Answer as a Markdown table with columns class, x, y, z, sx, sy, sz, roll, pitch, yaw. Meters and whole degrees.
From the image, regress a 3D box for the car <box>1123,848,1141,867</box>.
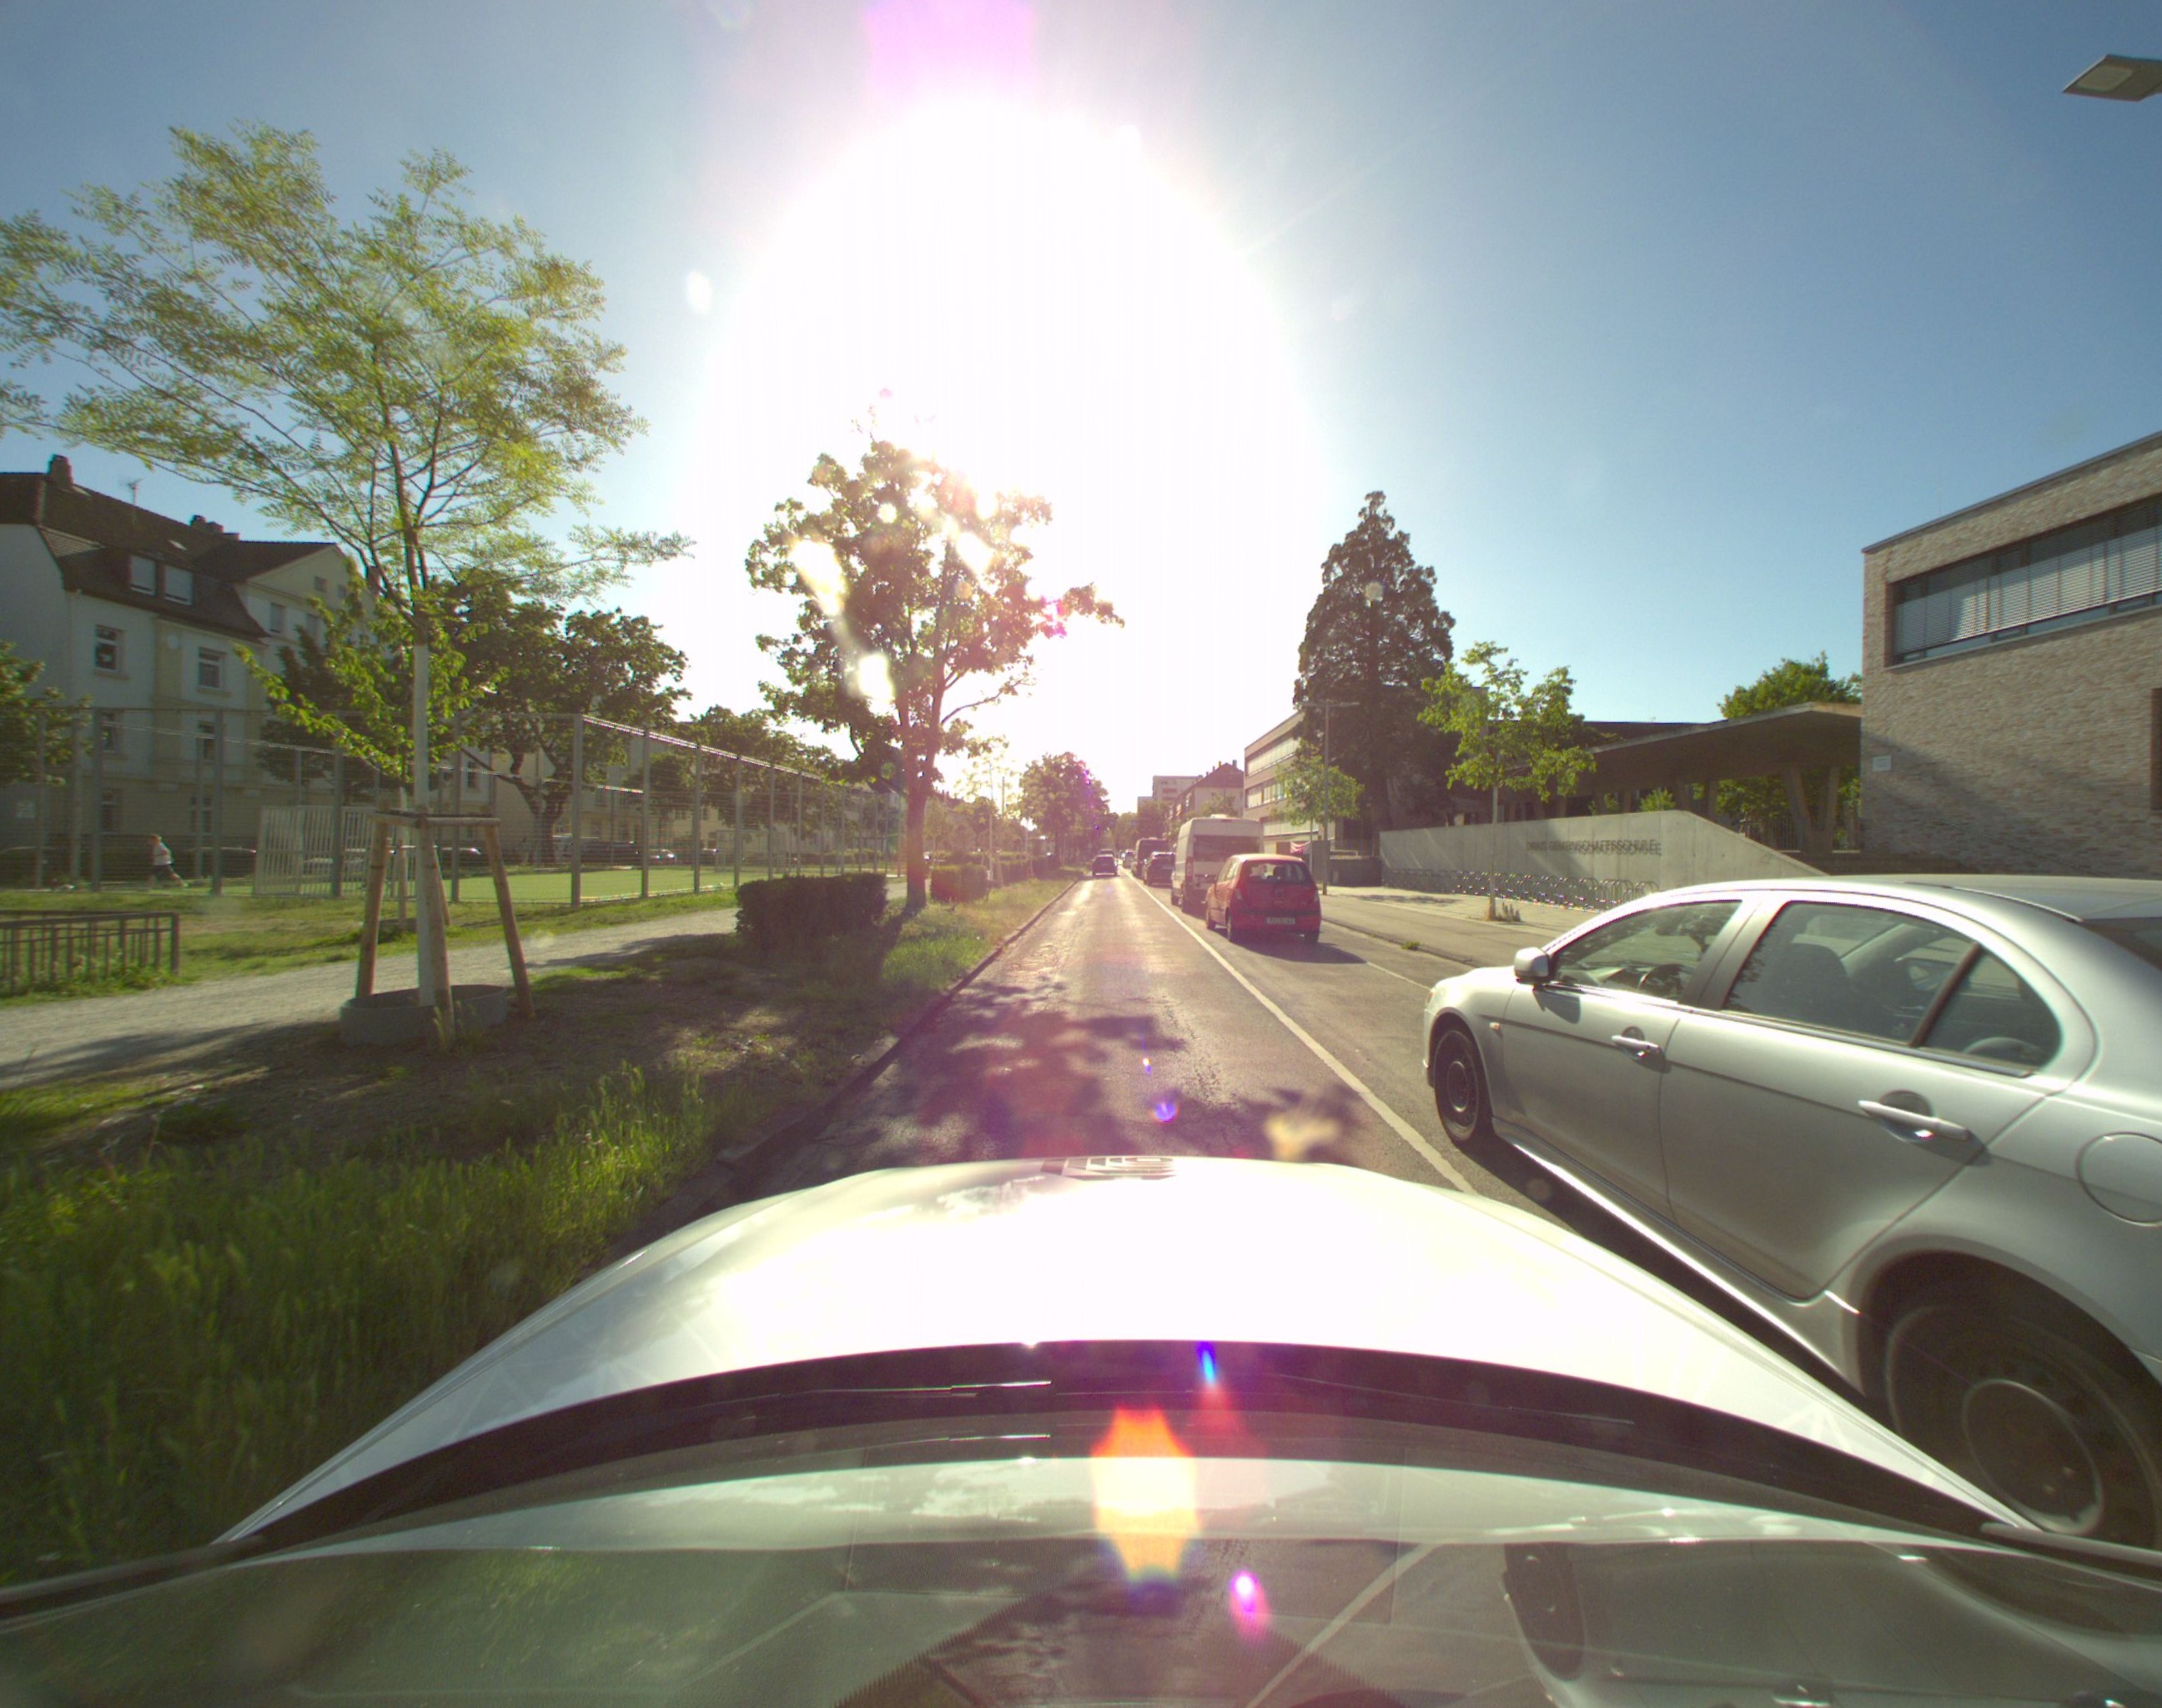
| class | x | y | z | sx | sy | sz | roll | pitch | yaw |
| --- | --- | --- | --- | --- | --- | --- | --- | --- | --- |
| car | 5.428 | 0.350 | 86.586 | 1.786 | 1.855 | 4.418 | 1 | 0 | 4 |

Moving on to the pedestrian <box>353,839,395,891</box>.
| class | x | y | z | sx | sy | sz | roll | pitch | yaw |
| --- | --- | --- | --- | --- | --- | --- | --- | --- | --- |
| pedestrian | -18.623 | 0.283 | 21.444 | 0.642 | 1.318 | 0.654 | 1 | 0 | 31 |

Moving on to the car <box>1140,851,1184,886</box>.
| class | x | y | z | sx | sy | sz | roll | pitch | yaw |
| --- | --- | --- | --- | --- | --- | --- | --- | --- | --- |
| car | 3.979 | 0.689 | 40.741 | 1.839 | 1.640 | 4.504 | 0 | 0 | 1 |

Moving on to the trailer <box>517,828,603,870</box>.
| class | x | y | z | sx | sy | sz | roll | pitch | yaw |
| --- | --- | --- | --- | --- | --- | --- | --- | --- | --- |
| trailer | -37.845 | -0.330 | 59.384 | 2.335 | 2.870 | 5.804 | 1 | 0 | 1 |

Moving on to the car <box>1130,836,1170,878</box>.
| class | x | y | z | sx | sy | sz | roll | pitch | yaw |
| --- | --- | --- | --- | --- | --- | --- | --- | --- | --- |
| car | 4.394 | 0.190 | 53.058 | 2.108 | 2.515 | 6.532 | 0 | 0 | 0 |

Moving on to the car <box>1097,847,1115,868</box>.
| class | x | y | z | sx | sy | sz | roll | pitch | yaw |
| --- | --- | --- | --- | --- | --- | --- | --- | --- | --- |
| car | 2.616 | 0.343 | 83.316 | 1.787 | 2.122 | 4.002 | 1 | 0 | 2 |

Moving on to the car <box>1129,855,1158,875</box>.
| class | x | y | z | sx | sy | sz | roll | pitch | yaw |
| --- | --- | --- | --- | --- | --- | --- | --- | --- | --- |
| car | 4.518 | 0.758 | 59.511 | 1.986 | 1.420 | 4.638 | 0 | 0 | 2 |

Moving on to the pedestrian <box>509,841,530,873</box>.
| class | x | y | z | sx | sy | sz | roll | pitch | yaw |
| --- | --- | --- | --- | --- | --- | --- | --- | --- | --- |
| pedestrian | -29.446 | 0.131 | 42.683 | 0.645 | 1.661 | 0.650 | 0 | 0 | 2 |

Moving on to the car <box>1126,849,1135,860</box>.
| class | x | y | z | sx | sy | sz | roll | pitch | yaw |
| --- | --- | --- | --- | --- | --- | --- | --- | --- | --- |
| car | 11.225 | 0.076 | 184.796 | 1.986 | 2.430 | 4.502 | 2 | 0 | 2 |

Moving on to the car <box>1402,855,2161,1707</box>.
| class | x | y | z | sx | sy | sz | roll | pitch | yaw |
| --- | --- | --- | --- | --- | --- | --- | --- | --- | --- |
| car | 2.766 | 0.763 | 2.922 | 1.695 | 1.478 | 4.175 | 1 | 0 | 2 |

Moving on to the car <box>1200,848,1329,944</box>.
| class | x | y | z | sx | sy | sz | roll | pitch | yaw |
| --- | --- | --- | --- | --- | --- | --- | --- | --- | --- |
| car | 3.326 | 0.689 | 15.394 | 1.614 | 1.588 | 3.591 | 1 | 0 | 0 |

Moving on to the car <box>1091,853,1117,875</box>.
| class | x | y | z | sx | sy | sz | roll | pitch | yaw |
| --- | --- | --- | --- | --- | --- | --- | --- | --- | --- |
| car | 1.652 | 0.680 | 58.084 | 1.787 | 1.510 | 4.002 | 1 | 0 | 2 |

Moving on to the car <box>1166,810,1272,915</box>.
| class | x | y | z | sx | sy | sz | roll | pitch | yaw |
| --- | --- | --- | --- | --- | --- | --- | --- | --- | --- |
| car | 3.741 | 0.208 | 23.109 | 2.232 | 2.574 | 5.435 | 1 | 0 | 2 |

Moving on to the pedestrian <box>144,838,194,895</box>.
| class | x | y | z | sx | sy | sz | roll | pitch | yaw |
| --- | --- | --- | --- | --- | --- | --- | --- | --- | --- |
| pedestrian | -21.741 | 0.296 | 19.418 | 0.642 | 1.318 | 0.654 | 1 | 0 | 31 |

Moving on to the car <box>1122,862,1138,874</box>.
| class | x | y | z | sx | sy | sz | roll | pitch | yaw |
| --- | --- | --- | --- | --- | --- | --- | --- | --- | --- |
| car | 5.559 | 1.570 | 93.328 | 1.758 | 1.319 | 4.170 | 1 | -1 | 2 |
